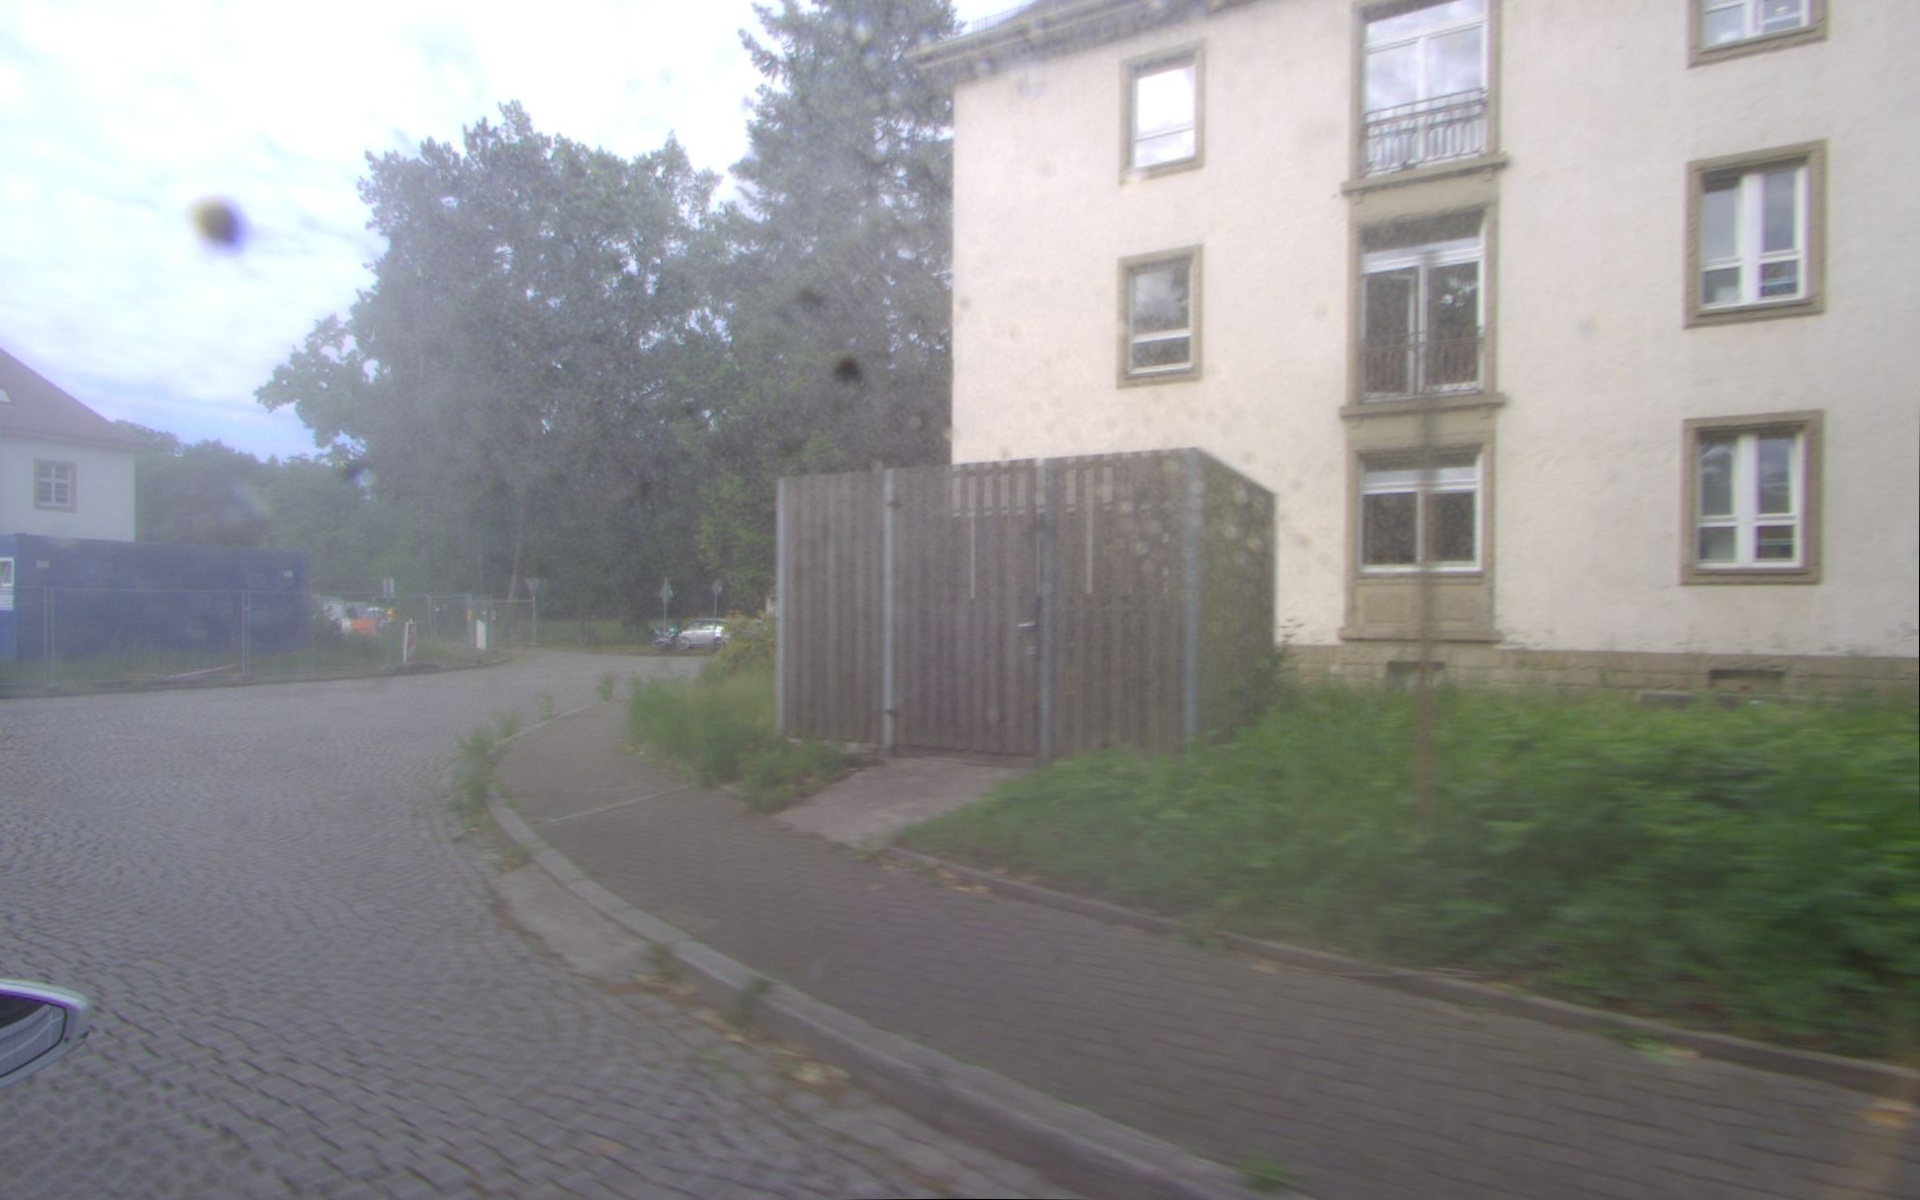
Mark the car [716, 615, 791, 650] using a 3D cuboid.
[{"bbox_3d":[-9.758,1.533,47.259,3.164,1.466,1.387,2,0,19],"label":"car"}]

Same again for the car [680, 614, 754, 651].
[{"bbox_3d":[-10.999,1.443,45.303,2.971,1.507,1.321,2,0,19],"label":"car"}]

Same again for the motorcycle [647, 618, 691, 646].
[{"bbox_3d":[-12.654,1.366,43.488,1.931,1.180,0.517,1,0,22],"label":"motorcycle"}]

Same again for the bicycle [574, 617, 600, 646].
[{"bbox_3d":[-15.594,1.310,41.840,0.509,1.182,1.790,1,-1,-39],"label":"bicycle"}]

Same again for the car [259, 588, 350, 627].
[{"bbox_3d":[-36.031,0.438,55.206,1.730,2.069,5.421,0,-1,-3],"label":"car"}]

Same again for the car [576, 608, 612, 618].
[{"bbox_3d":[-38.252,1.364,104.564,3.328,1.078,1.256,1,-1,-7],"label":"car"}]

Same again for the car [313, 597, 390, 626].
[{"bbox_3d":[-33.142,0.626,54.693,1.730,1.522,4.446,0,-1,-3],"label":"car"}]
